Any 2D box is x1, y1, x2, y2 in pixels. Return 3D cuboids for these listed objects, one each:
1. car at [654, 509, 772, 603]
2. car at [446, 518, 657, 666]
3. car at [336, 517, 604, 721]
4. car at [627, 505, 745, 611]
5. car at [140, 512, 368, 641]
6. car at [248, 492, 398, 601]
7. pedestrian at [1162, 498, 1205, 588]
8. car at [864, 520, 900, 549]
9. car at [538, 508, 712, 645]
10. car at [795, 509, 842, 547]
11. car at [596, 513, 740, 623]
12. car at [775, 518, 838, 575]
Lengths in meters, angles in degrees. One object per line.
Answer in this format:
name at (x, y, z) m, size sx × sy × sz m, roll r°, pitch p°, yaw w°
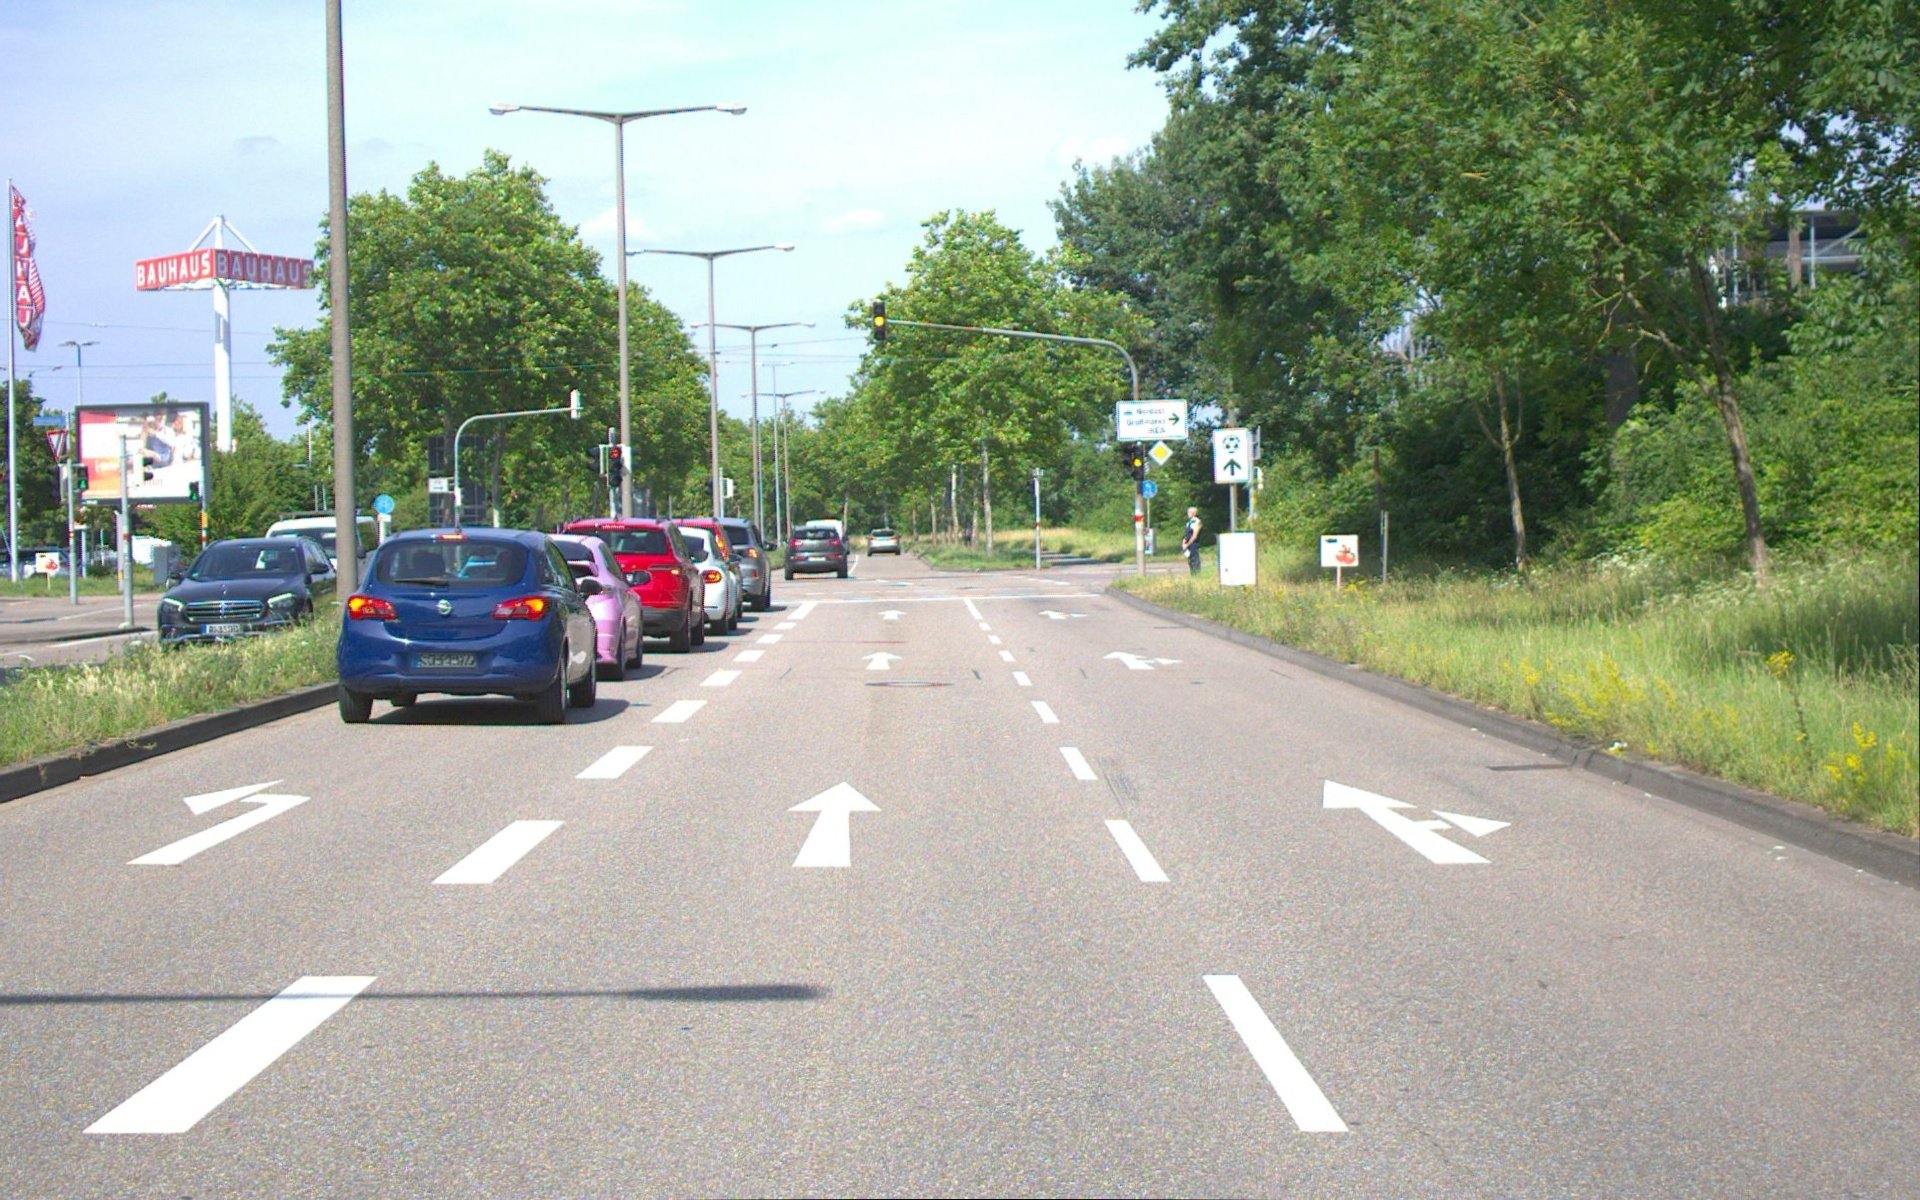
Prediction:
car at (-4.382, -0.806, 61.505) m, size 1.881 × 1.612 × 4.213 m, roll -1°, pitch 1°, yaw -1°
car at (-4.080, -0.128, 34.900) m, size 1.702 × 1.385 × 4.473 m, roll 1°, pitch 1°, yaw -1°
car at (-3.811, 0.090, 27.274) m, size 1.626 × 1.478 × 4.049 m, roll 1°, pitch 1°, yaw -1°
car at (-4.342, -0.658, 54.845) m, size 1.628 × 1.590 × 3.918 m, roll -1°, pitch 0°, yaw -1°
car at (-9.072, -0.339, 44.544) m, size 1.993 × 1.525 × 4.683 m, roll -2°, pitch 1°, yaw -1°
car at (-12.371, -1.073, 67.092) m, size 1.993 × 2.006 × 5.214 m, roll -2°, pitch 2°, yaw -1°
pedestrian at (4.897, -1.252, 75.371) m, size 0.837 × 1.926 × 0.772 m, roll -1°, pitch 3°, yaw -4°
car at (-4.272, -3.604, 188.868) m, size 1.867 × 1.568 × 4.000 m, roll -2°, pitch 1°, yaw -1°
car at (-4.044, -0.330, 42.060) m, size 1.782 × 1.587 × 4.594 m, roll 0°, pitch 1°, yaw -1°
car at (-6.573, -3.356, 159.878) m, size 1.993 × 1.702 × 4.263 m, roll -1°, pitch 1°, yaw 0°
car at (-4.069, -0.485, 48.351) m, size 1.766 × 1.474 × 4.136 m, roll 0°, pitch 1°, yaw -1°
car at (-4.612, -1.633, 103.620) m, size 1.736 × 1.530 × 4.001 m, roll -1°, pitch 4°, yaw -1°
